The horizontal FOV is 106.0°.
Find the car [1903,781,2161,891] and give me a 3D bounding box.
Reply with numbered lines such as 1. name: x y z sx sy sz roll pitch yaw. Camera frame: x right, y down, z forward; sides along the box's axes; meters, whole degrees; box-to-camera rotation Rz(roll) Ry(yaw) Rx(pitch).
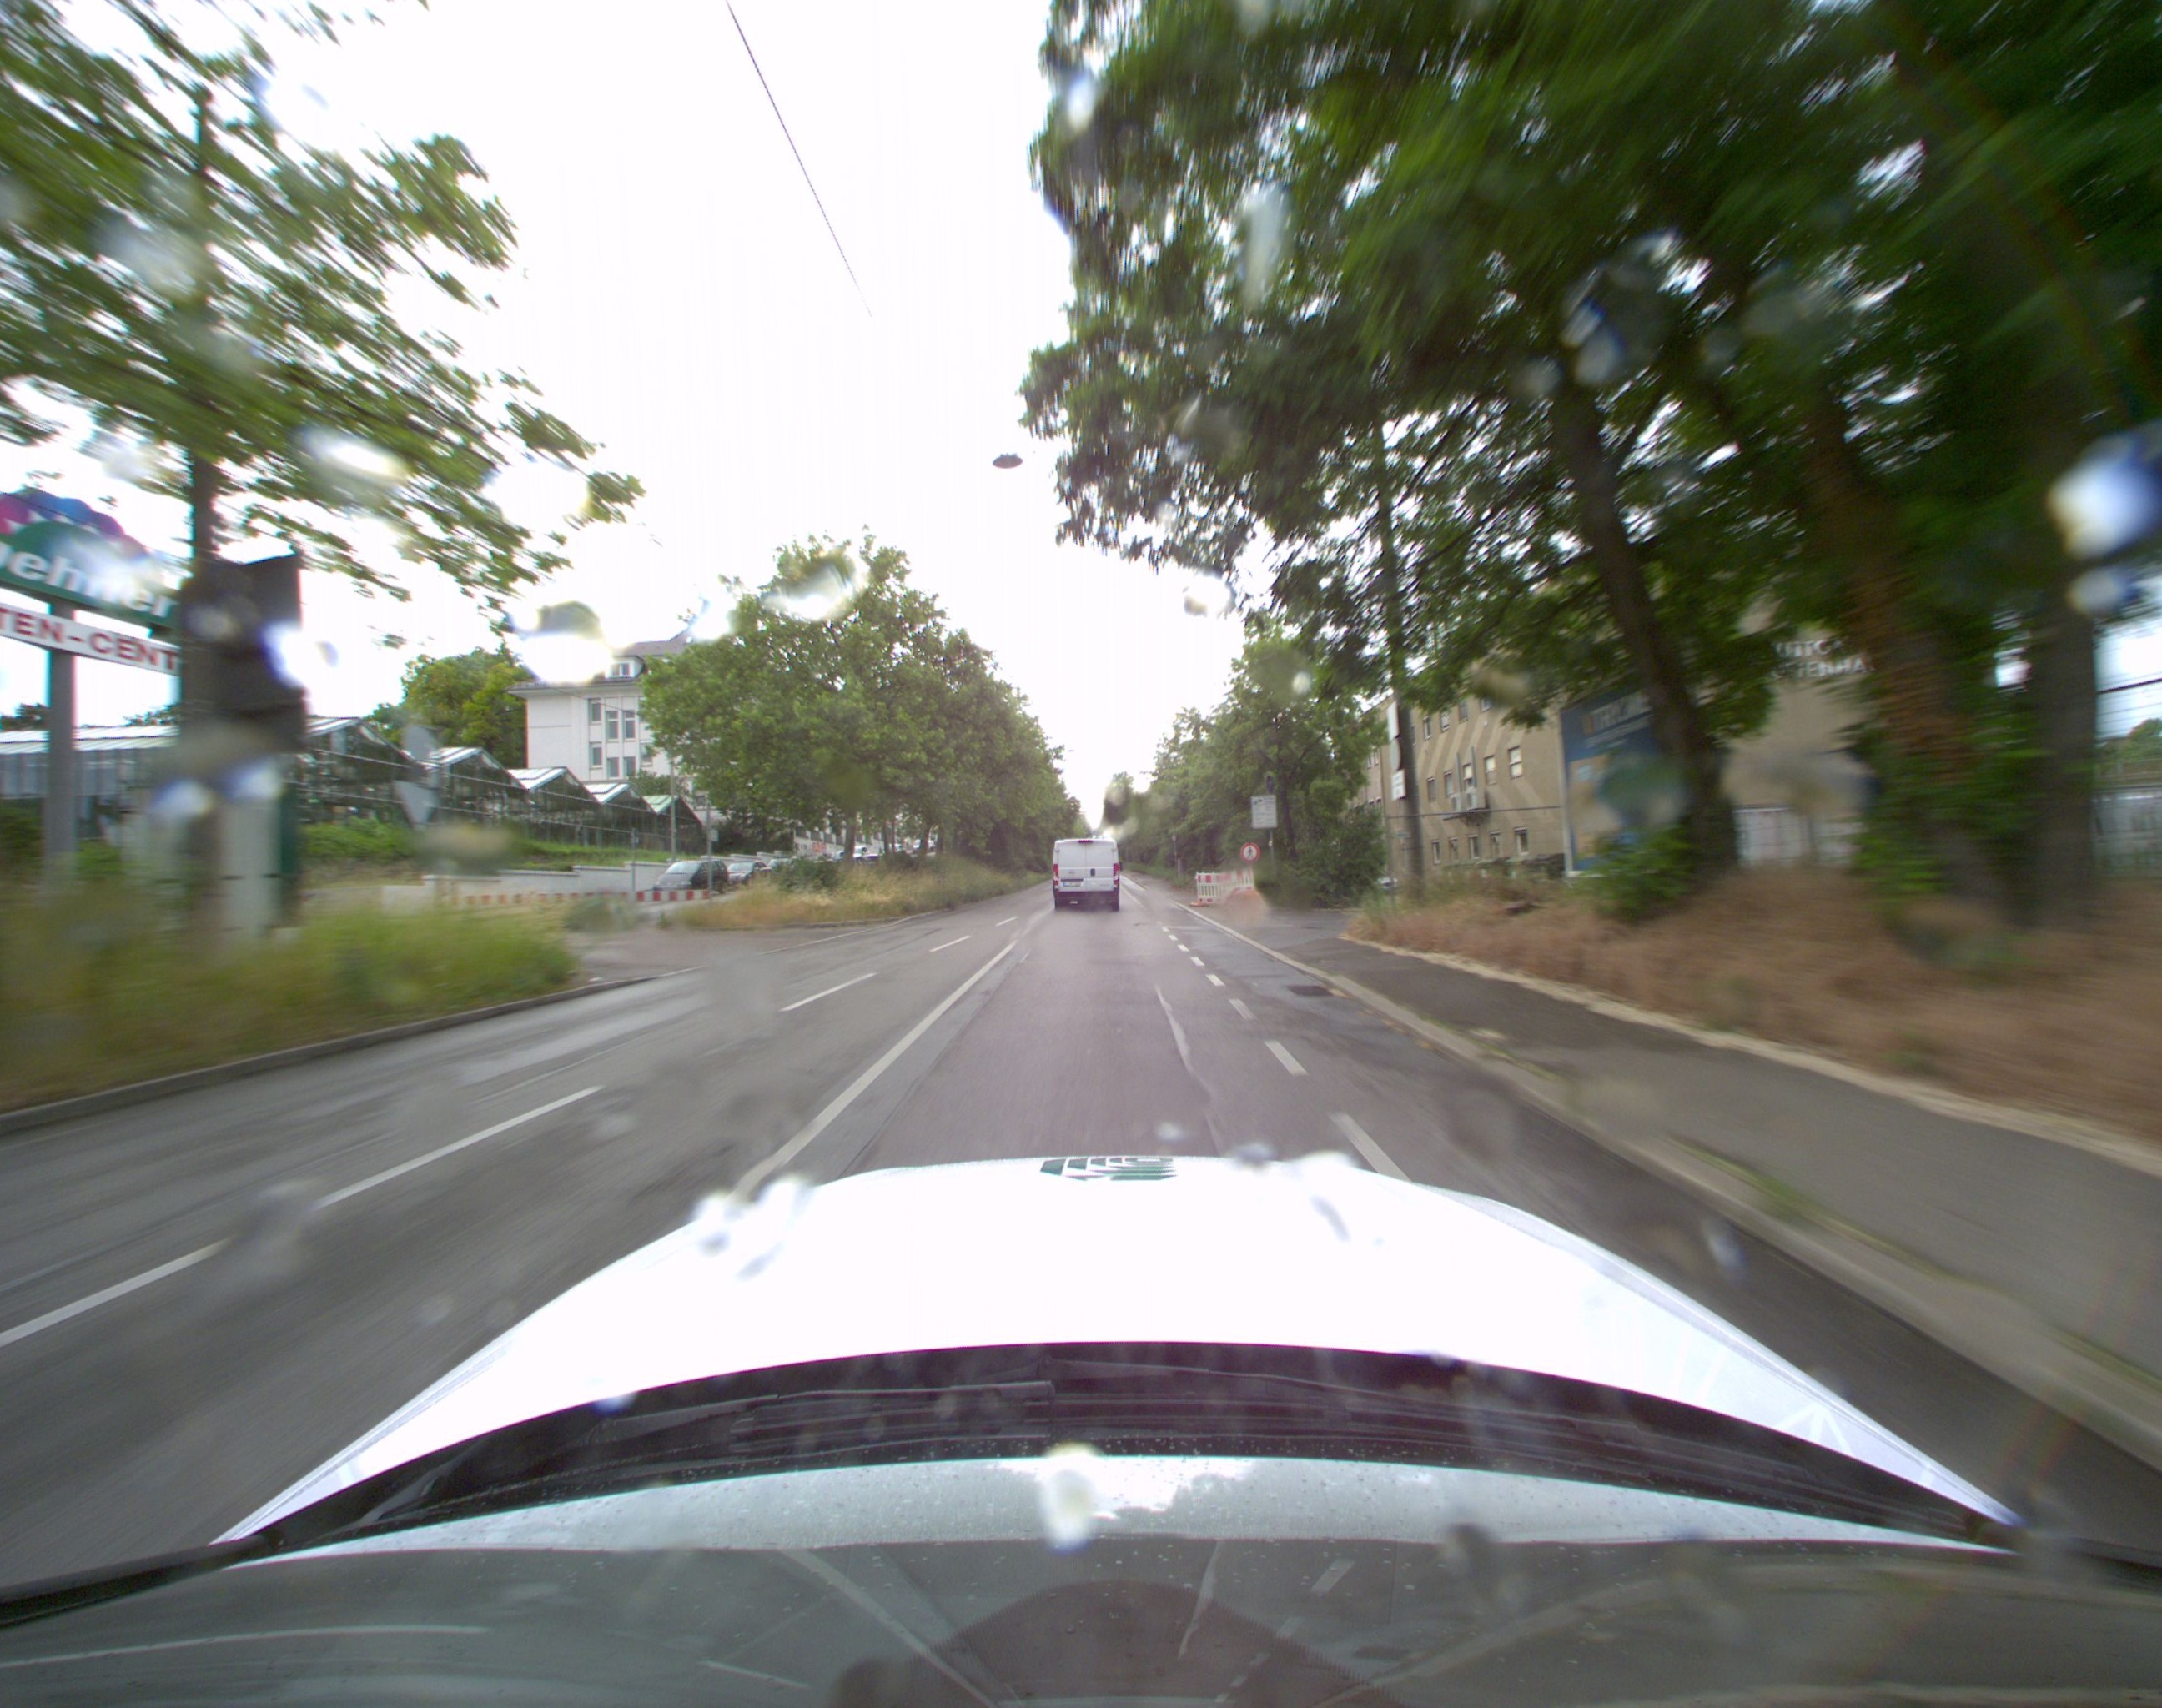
1. car: 19.275 -0.267 15.860 1.775 1.859 4.653 -3 -3 1

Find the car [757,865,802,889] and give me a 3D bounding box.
1. car: -17.946 1.388 48.613 1.460 1.291 3.302 -3 -3 -1

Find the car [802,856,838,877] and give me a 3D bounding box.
1. car: -17.952 0.903 56.066 1.355 1.310 3.086 -3 -3 1

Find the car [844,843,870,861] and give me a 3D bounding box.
1. car: -18.234 -0.131 66.397 1.379 1.298 3.012 -3 -3 -2

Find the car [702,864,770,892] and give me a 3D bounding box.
1. car: -18.004 1.278 42.686 1.810 1.291 4.119 -3 -3 -1

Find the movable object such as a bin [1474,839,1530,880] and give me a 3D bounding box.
1. movable object such as a bin: 15.543 0.191 30.132 1.299 1.416 1.420 -3 -1 3

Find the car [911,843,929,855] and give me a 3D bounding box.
1. car: -19.065 -0.571 96.544 1.595 1.250 2.908 -3 -3 -2

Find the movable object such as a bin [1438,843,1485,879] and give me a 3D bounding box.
1. movable object such as a bin: 15.566 0.288 33.351 1.266 1.416 1.358 -3 -1 3

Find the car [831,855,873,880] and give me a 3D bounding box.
1. car: -11.493 0.694 41.026 1.346 1.096 2.751 -3 -3 -1

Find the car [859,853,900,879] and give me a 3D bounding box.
1. car: -11.475 0.721 46.537 1.430 1.361 3.174 -3 -3 0

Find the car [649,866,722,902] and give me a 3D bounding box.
1. car: -17.900 1.364 37.026 1.644 1.487 3.514 -3 -3 -1

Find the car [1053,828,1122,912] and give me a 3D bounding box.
1. car: 0.267 0.485 26.919 2.042 2.516 4.945 0 0 1

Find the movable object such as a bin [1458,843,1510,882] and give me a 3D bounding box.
1. movable object such as a bin: 15.619 0.330 31.634 1.299 1.416 1.432 -3 -1 3

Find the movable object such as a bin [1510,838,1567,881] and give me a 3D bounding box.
1. movable object such as a bin: 15.832 0.198 28.230 1.208 1.416 1.333 -3 -1 3
